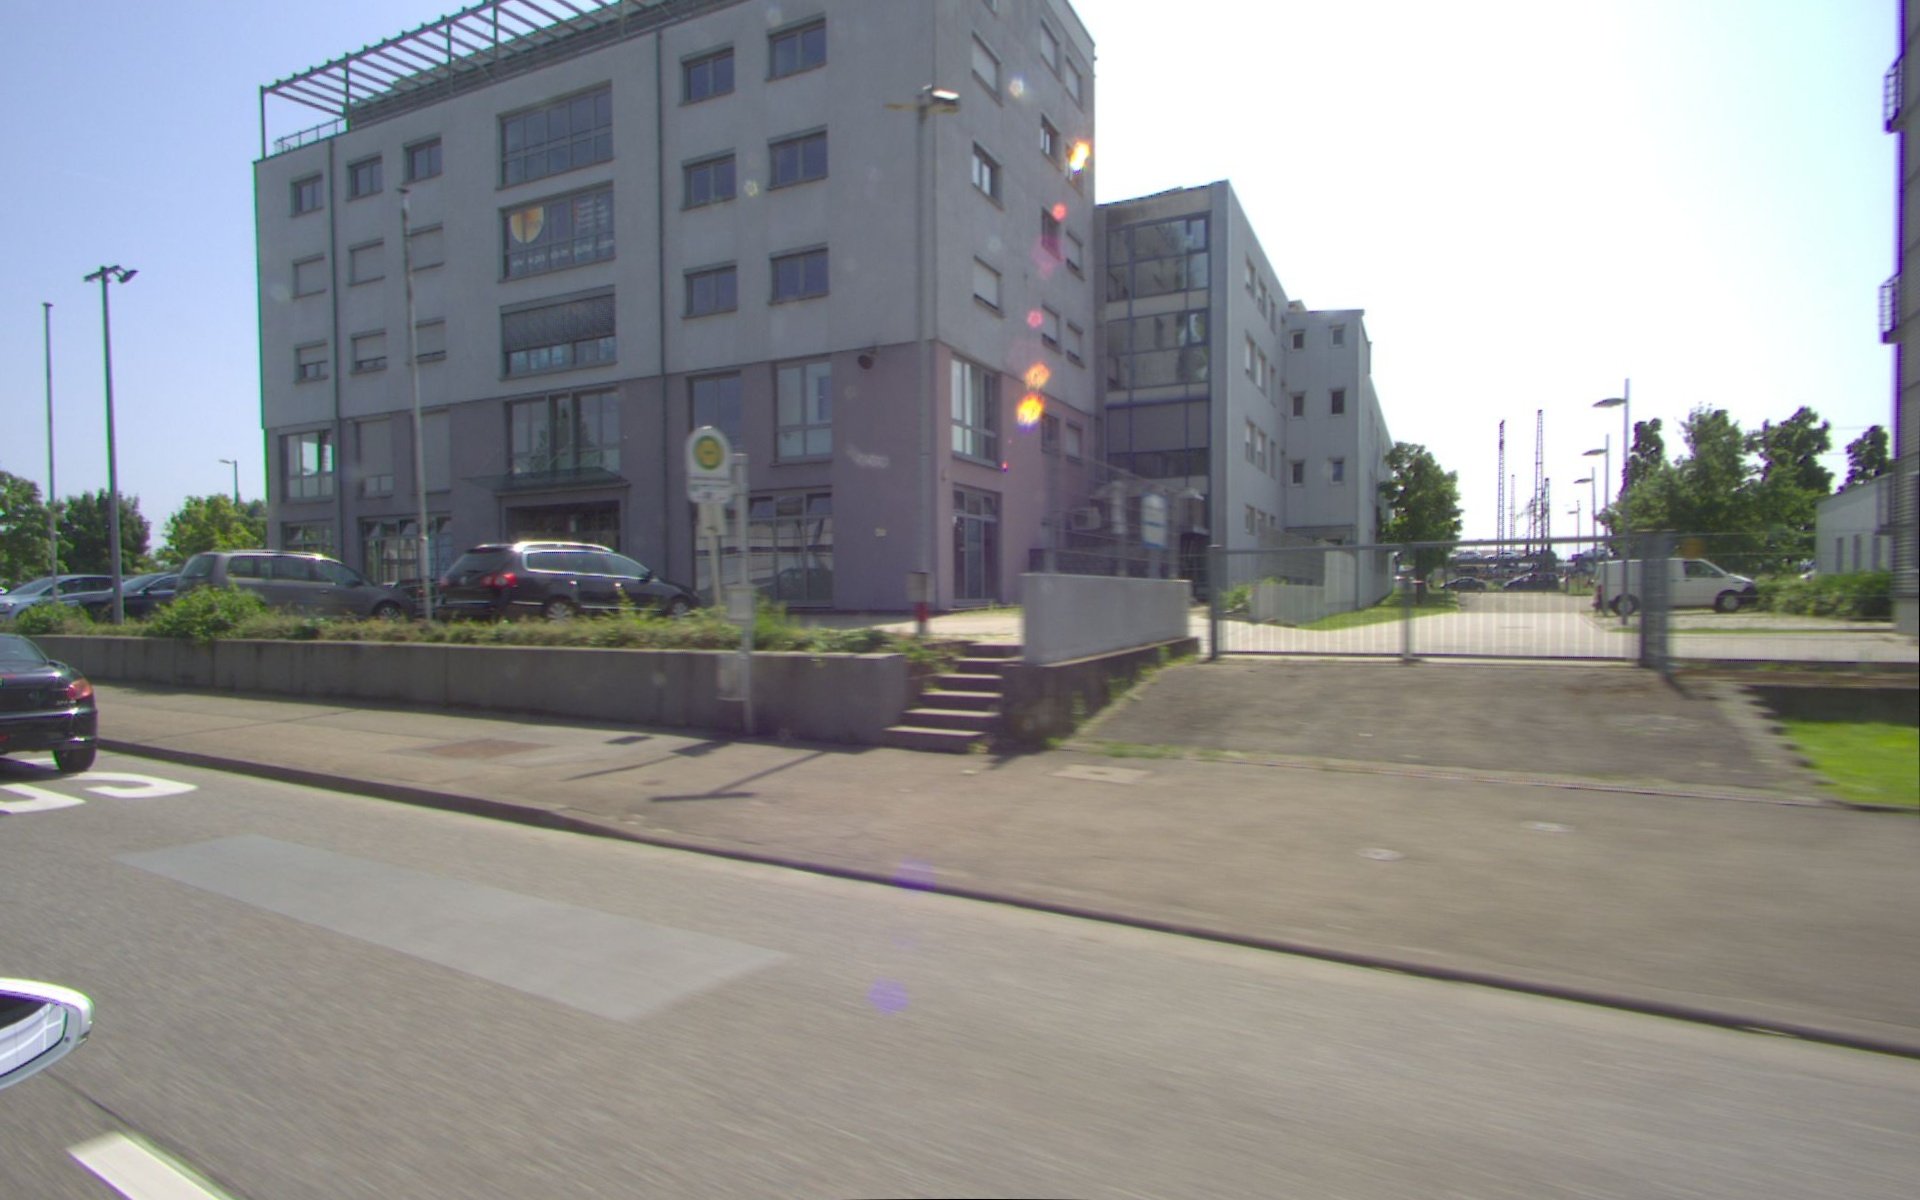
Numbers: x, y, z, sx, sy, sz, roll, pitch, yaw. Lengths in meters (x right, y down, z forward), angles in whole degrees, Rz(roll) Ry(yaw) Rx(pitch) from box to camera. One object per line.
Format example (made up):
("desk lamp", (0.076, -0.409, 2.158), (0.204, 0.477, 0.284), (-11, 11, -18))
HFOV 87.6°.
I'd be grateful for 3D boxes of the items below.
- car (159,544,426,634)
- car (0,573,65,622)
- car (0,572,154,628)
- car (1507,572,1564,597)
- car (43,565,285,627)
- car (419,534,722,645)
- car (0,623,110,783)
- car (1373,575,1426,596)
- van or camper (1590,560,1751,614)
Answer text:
("car", (-13.875, -0.240, 21.087), (1.971, 1.669, 4.218), (0, 1, 31))
("car", (-32.179, -0.061, 32.315), (1.971, 1.565, 4.525), (0, 1, 31))
("car", (-25.361, -0.019, 28.155), (1.732, 1.472, 3.929), (-1, 1, 14))
("car", (48.512, -1.272, 84.433), (4.070, 2.001, 1.991), (1, -1, 32))
("car", (-19.780, -0.126, 25.087), (1.970, 1.387, 4.312), (0, 1, 30))
("car", (-6.351, -0.188, 16.890), (1.971, 1.604, 4.490), (0, 1, 31))
("car", (-10.159, 0.948, 9.970), (3.553, 1.382, 1.624), (1, -1, 33))
("car", (38.977, -1.299, 88.884), (4.070, 1.803, 1.991), (1, -1, 32))
("van or camper", (25.187, -0.453, 35.718), (4.469, 1.819, 1.990), (-1, 1, 30))
